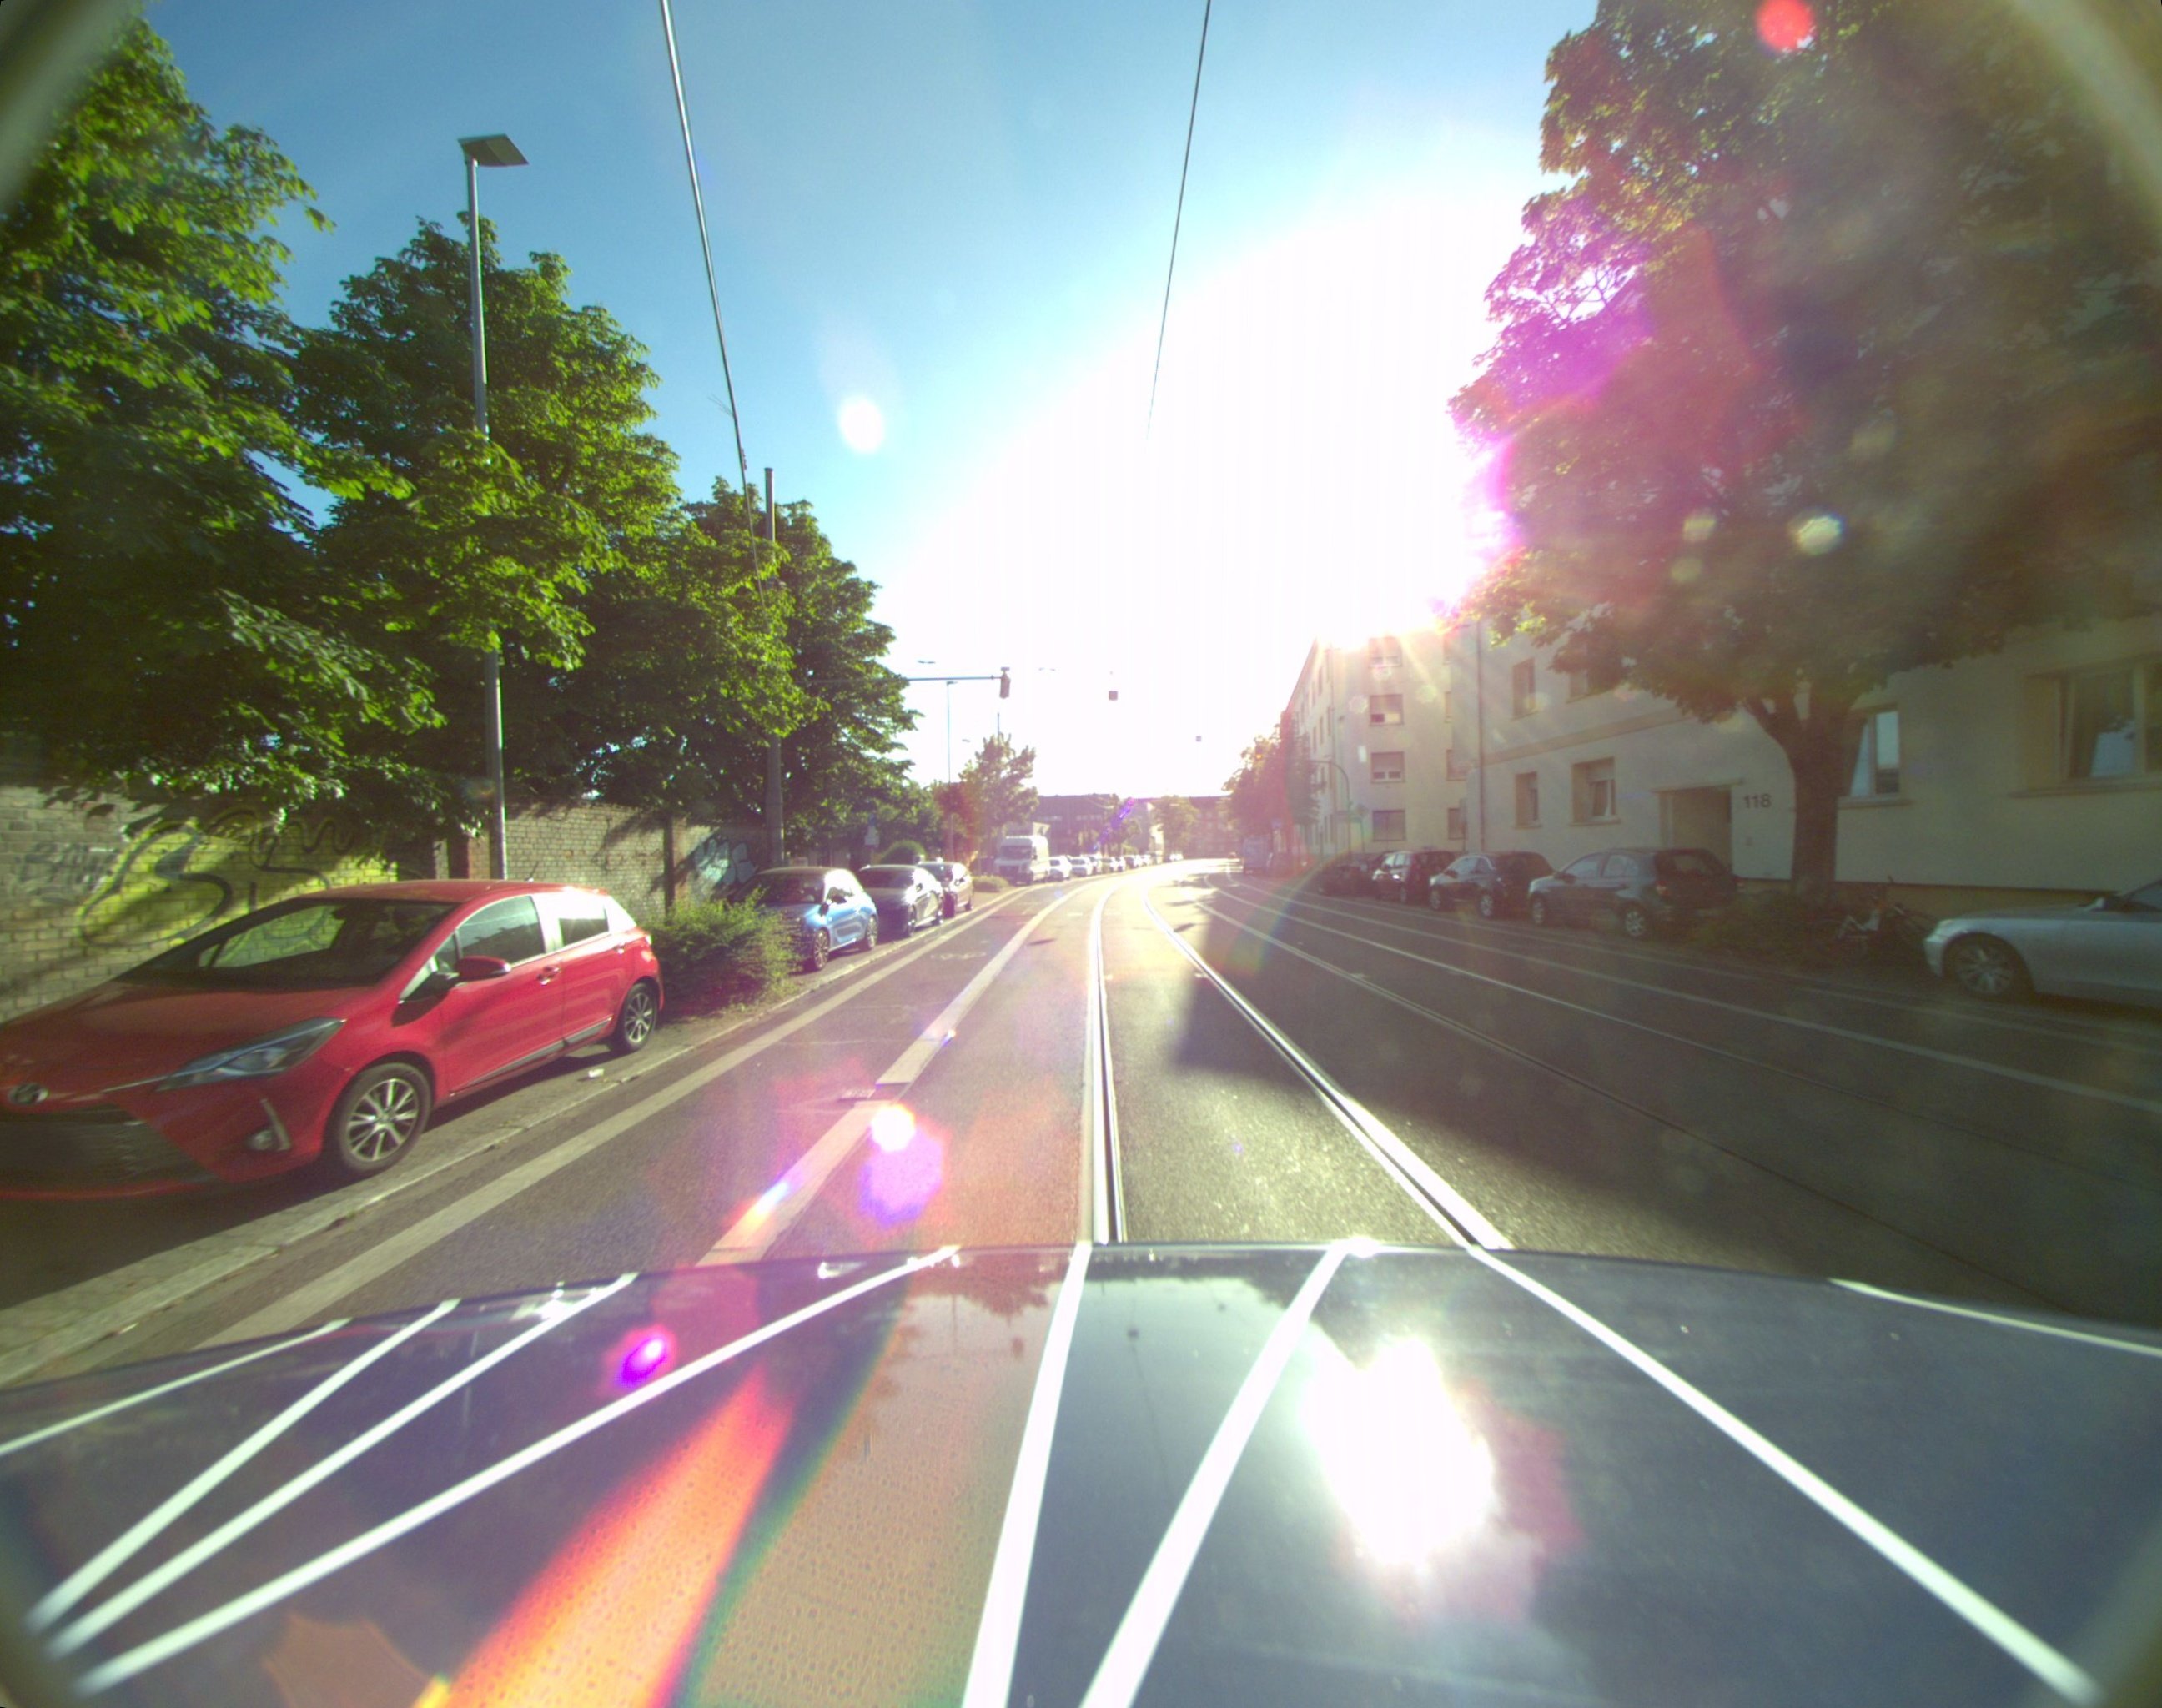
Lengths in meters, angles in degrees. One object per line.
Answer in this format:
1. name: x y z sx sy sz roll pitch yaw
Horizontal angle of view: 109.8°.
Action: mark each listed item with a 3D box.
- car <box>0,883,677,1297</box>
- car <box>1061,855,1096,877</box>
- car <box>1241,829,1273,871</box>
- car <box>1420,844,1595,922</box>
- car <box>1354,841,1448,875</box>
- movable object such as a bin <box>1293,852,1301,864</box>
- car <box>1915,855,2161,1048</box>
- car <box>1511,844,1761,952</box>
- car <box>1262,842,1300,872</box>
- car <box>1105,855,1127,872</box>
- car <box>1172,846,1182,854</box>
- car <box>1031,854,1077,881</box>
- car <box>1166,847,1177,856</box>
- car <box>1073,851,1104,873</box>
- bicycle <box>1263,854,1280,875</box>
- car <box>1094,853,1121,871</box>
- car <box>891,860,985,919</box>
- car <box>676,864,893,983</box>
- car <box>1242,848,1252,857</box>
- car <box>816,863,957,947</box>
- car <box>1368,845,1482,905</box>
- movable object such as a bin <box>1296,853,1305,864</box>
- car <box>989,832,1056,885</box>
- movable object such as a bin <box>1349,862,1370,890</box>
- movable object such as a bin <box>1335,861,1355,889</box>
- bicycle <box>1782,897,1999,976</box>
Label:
1. car: -4.608 1.049 5.113 1.693 1.521 3.999 0 1 -1
2. car: -0.144 0.849 55.673 1.730 1.503 4.255 0 1 11
3. car: 12.914 -0.311 56.018 2.020 2.809 6.037 -3 0 12
4. car: 9.805 0.602 17.852 1.791 1.521 3.857 -4 0 -1
5. car: 15.681 0.187 37.399 3.894 1.449 1.769 -3 1 7
6. movable object such as a bin: 18.126 0.337 63.711 0.597 0.929 0.569 -1 1 8
7. car: 9.526 0.800 5.618 1.693 1.466 4.660 -3 0 2
8. car: 9.722 0.680 13.707 1.595 1.604 3.730 -3 0 -4
9. car: 12.546 0.147 47.887 1.794 1.551 4.645 -7 0 11
10. car: 3.503 0.936 75.284 1.731 1.455 4.343 -3 0 7
11. car: 19.548 -0.801 155.366 1.715 1.481 4.627 -1 0 11
12. car: -1.626 0.810 47.901 1.913 1.521 4.603 -1 1 10
13. car: 16.864 -0.473 141.962 1.705 1.473 4.662 1 1 11
14. car: 0.659 0.611 60.926 1.730 1.595 4.345 1 1 11
15. bicycle: 10.622 0.561 42.349 0.513 1.127 2.031 -3 0 4
16. car: 2.460 0.679 69.865 1.731 1.455 4.502 -3 0 12
17. car: -4.044 0.957 22.149 1.692 1.521 4.001 0 1 4
18. car: -4.546 0.971 12.360 1.692 1.521 4.001 0 1 4
19. car: 29.821 -0.260 136.697 1.574 1.496 4.003 -3 0 11
20. car: -4.093 0.999 16.782 1.692 1.521 4.356 0 1 4
21. car: 9.811 0.537 21.987 1.692 1.521 4.001 -3 0 5
22. movable object such as a bin: 17.878 0.358 61.922 0.597 0.929 0.569 -1 1 8
23. car: -3.072 0.200 41.410 2.184 2.650 6.095 1 1 10
24. movable object such as a bin: 10.027 0.794 27.361 0.486 0.982 0.660 -3 1 3
25. movable object such as a bin: 9.515 0.755 27.379 0.486 0.982 0.660 -3 1 3
26. bicycle: 9.947 1.006 9.363 2.132 0.820 0.477 -3 1 0
